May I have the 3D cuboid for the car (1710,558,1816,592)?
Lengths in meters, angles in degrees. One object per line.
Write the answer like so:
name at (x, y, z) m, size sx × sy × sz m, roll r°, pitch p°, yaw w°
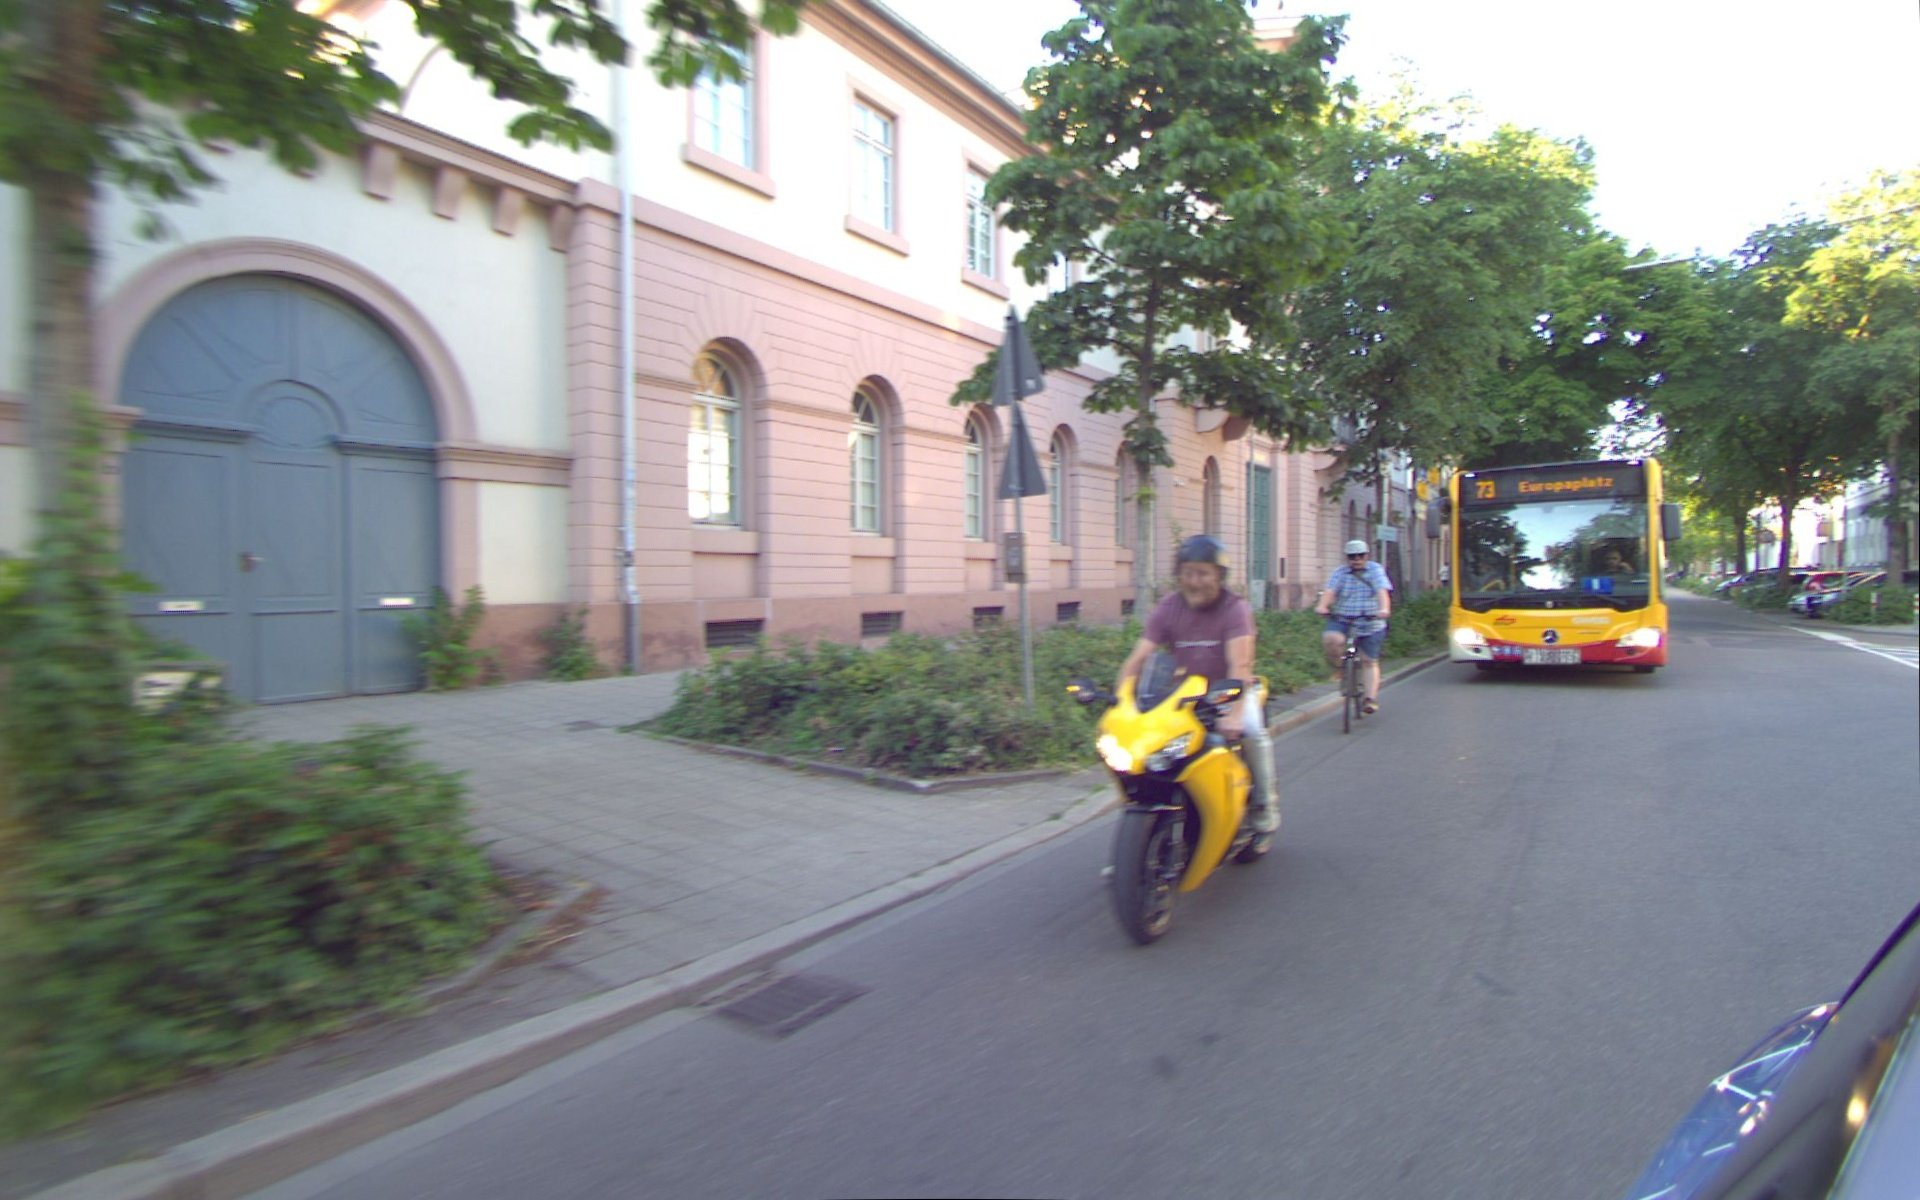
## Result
car at (41.337, -1.288, 52.201) m, size 3.961 × 1.730 × 1.828 m, roll 1°, pitch 2°, yaw 27°

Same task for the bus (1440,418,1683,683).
bus at (10.973, -0.764, 18.005) m, size 2.651 × 3.234 × 11.756 m, roll -1°, pitch 1°, yaw 34°

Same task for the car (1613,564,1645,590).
car at (47.317, -1.646, 71.567) m, size 1.832 × 1.730 × 3.952 m, roll 1°, pitch 2°, yaw 34°

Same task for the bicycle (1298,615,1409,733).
bicycle at (3.963, 0.684, 10.104) m, size 0.633 × 0.995 × 1.958 m, roll -2°, pitch 0°, yaw 33°

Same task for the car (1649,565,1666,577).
car at (100.124, -4.214, 145.316) m, size 1.832 × 1.730 × 4.108 m, roll 1°, pitch 2°, yaw 34°

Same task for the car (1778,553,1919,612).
car at (29.066, -0.582, 32.554) m, size 3.961 × 1.834 × 1.784 m, roll 1°, pitch 2°, yaw 27°

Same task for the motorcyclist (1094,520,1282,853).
motorcyclist at (1.102, 0.362, 4.811) m, size 0.730 × 1.429 × 0.721 m, roll -1°, pitch 1°, yaw 24°

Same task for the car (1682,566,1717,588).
car at (51.977, -1.620, 71.205) m, size 1.788 × 1.529 × 3.952 m, roll 1°, pitch 2°, yaw 34°

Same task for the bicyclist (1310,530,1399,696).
bicyclist at (3.964, 0.127, 10.152) m, size 0.633 × 1.581 × 0.809 m, roll -2°, pitch -1°, yaw 33°

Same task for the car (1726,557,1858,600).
car at (35.254, -0.926, 43.046) m, size 3.961 × 1.730 × 1.982 m, roll 1°, pitch 2°, yaw 27°

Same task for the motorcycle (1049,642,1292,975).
motorcycle at (1.081, 0.810, 4.761) m, size 0.730 × 1.073 × 1.949 m, roll -1°, pitch 2°, yaw 23°

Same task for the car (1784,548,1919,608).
car at (30.770, -0.757, 34.341) m, size 3.961 × 1.975 × 1.982 m, roll 1°, pitch 2°, yaw 27°

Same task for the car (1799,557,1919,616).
car at (27.805, -0.423, 30.172) m, size 3.961 × 1.690 × 1.784 m, roll 1°, pitch 2°, yaw 27°
